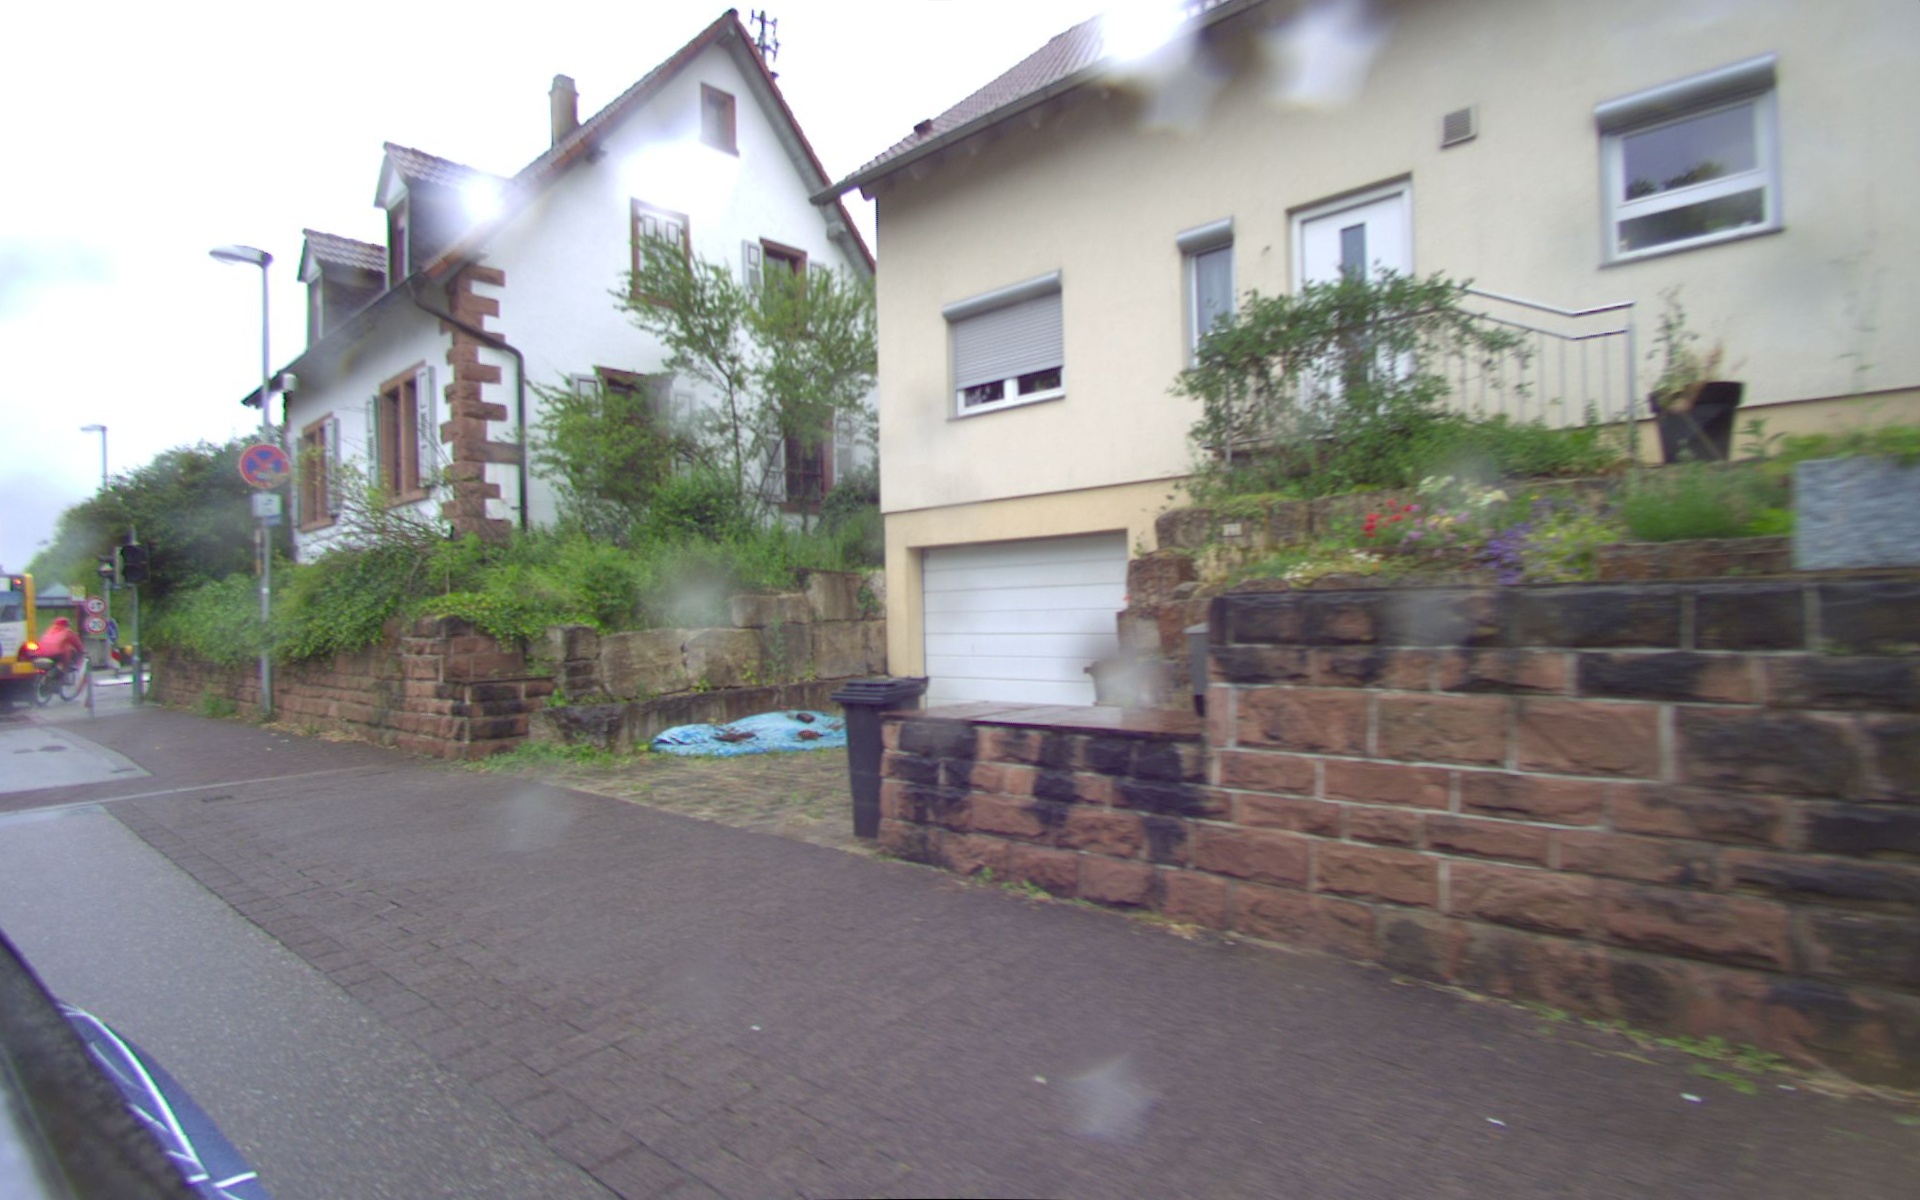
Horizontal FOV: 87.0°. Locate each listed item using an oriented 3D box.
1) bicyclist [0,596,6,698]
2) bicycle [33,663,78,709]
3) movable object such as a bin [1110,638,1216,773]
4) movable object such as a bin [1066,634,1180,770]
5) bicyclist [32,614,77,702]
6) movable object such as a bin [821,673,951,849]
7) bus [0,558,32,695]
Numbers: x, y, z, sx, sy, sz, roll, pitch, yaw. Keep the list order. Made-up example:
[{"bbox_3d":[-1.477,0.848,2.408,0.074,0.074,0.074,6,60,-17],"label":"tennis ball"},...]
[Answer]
[{"bbox_3d":[-16.764,0.811,17.228,0.703,1.726,0.680,-2,0,43],"label":"bicyclist"},{"bbox_3d":[-18.993,1.789,21.269,0.653,0.877,1.937,-3,-1,-41],"label":"bicycle"},{"bbox_3d":[1.834,0.925,9.141,0.599,1.116,0.651,-3,0,-42],"label":"movable object such as a bin"},{"bbox_3d":[1.391,0.853,8.643,0.656,1.071,0.615,-5,-2,44],"label":"movable object such as a bin"},{"bbox_3d":[-19.014,1.208,21.259,0.649,1.783,0.704,-2,-2,-42],"label":"bicyclist"},{"bbox_3d":[-0.442,0.937,6.100,0.544,0.937,0.532,-1,1,40],"label":"movable object such as a bin"},{"bbox_3d":[-25.543,0.749,25.657,2.773,2.961,11.952,-2,0,-43],"label":"bus"}]
